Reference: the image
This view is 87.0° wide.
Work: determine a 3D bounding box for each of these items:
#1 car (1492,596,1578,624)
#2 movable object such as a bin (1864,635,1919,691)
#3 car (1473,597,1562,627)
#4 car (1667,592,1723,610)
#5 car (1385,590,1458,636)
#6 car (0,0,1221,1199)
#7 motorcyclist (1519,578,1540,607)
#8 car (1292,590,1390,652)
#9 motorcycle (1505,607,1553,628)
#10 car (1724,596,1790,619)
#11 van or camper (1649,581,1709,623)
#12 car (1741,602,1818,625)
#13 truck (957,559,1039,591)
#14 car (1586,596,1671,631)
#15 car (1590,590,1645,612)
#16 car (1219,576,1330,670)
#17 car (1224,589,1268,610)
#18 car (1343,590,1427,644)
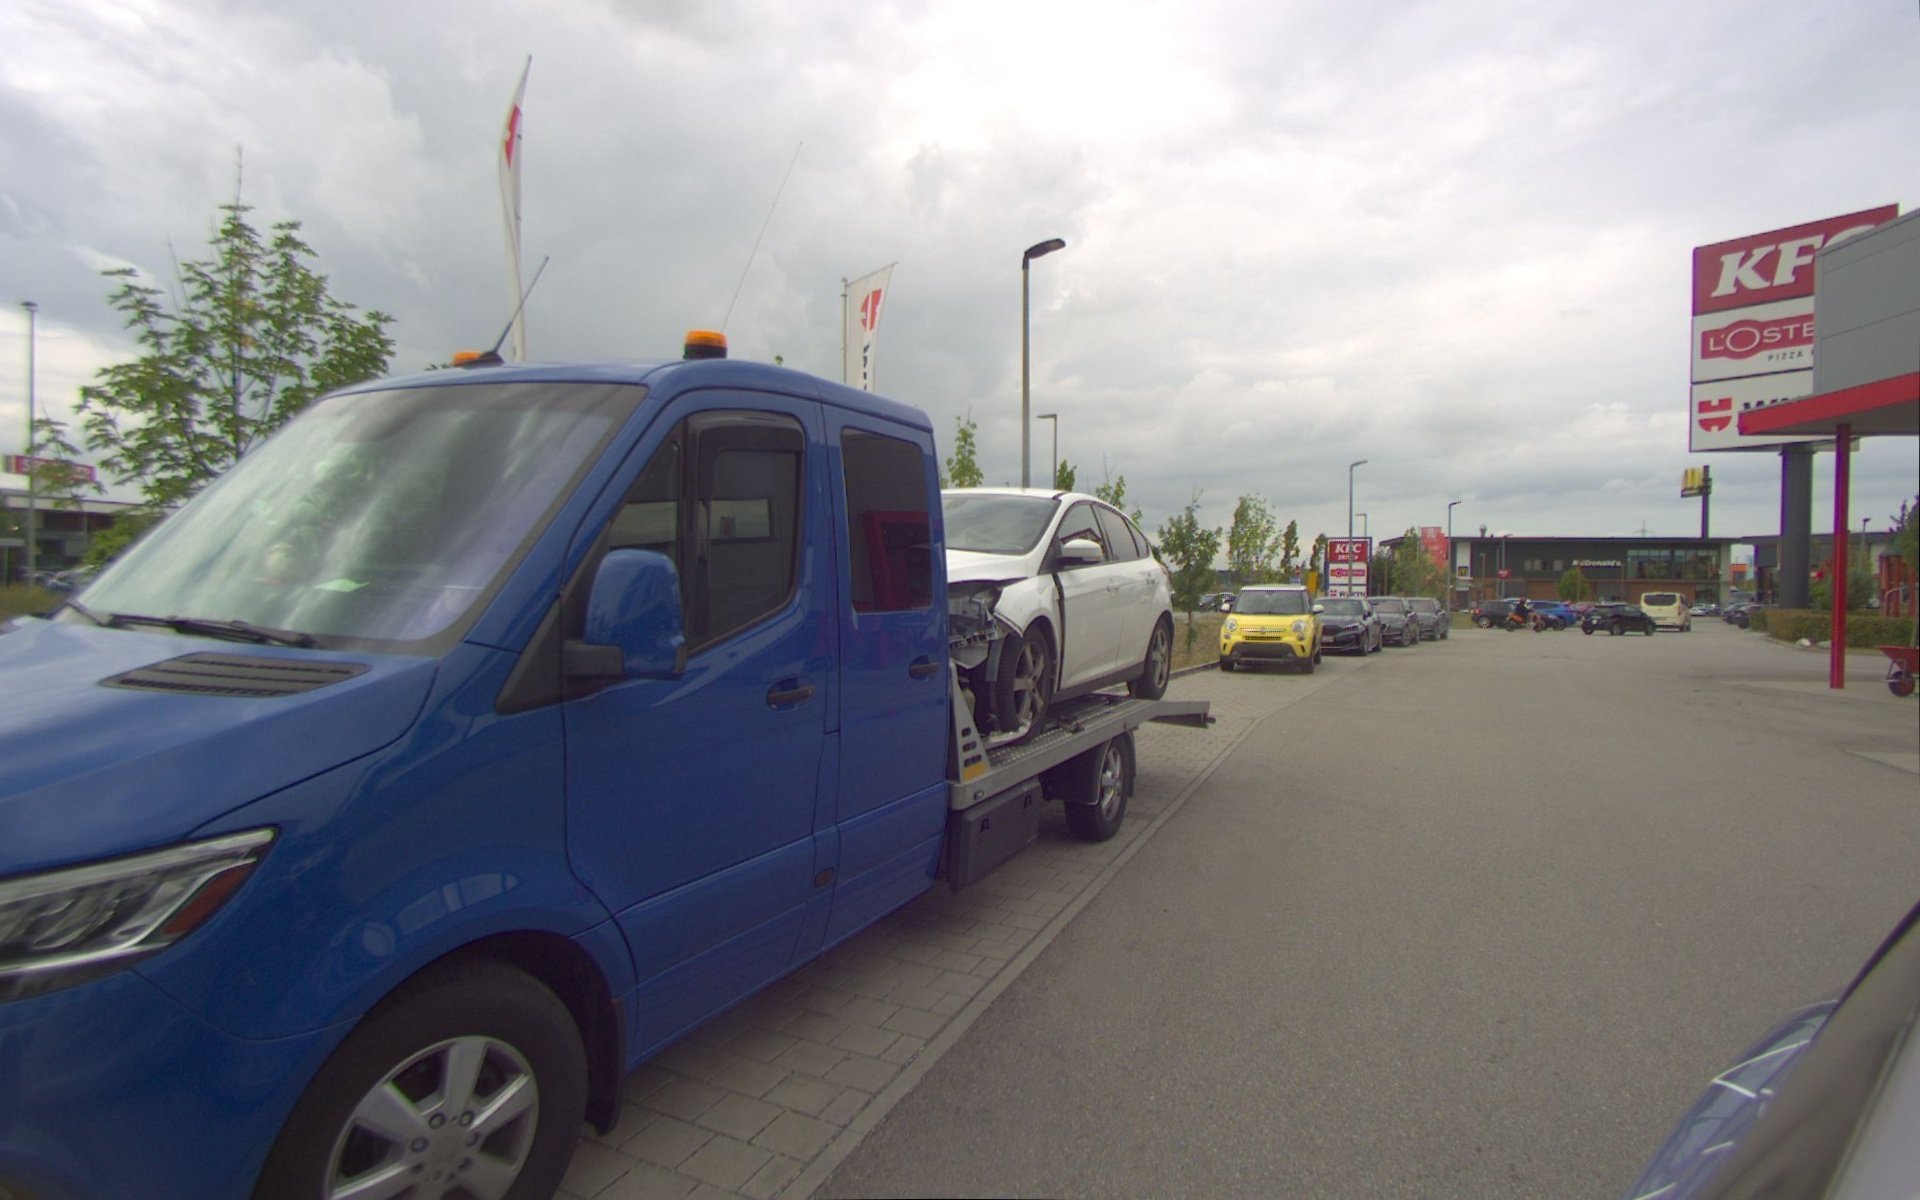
[{"bbox_3d":[31.291,0.531,55.103,3.973,1.438,1.788,1,0,35],"label":"car"},{"bbox_3d":[13.880,0.893,14.225,1.557,0.725,0.802,1,0,6],"label":"movable object such as a bin"},{"bbox_3d":[29.321,0.599,53.229,3.973,1.438,1.788,1,0,35],"label":"car"},{"bbox_3d":[71.271,0.095,98.186,1.959,1.683,4.007,0,0,-25],"label":"car"},{"bbox_3d":[16.316,0.422,35.656,1.740,1.509,4.435,0,0,33],"label":"car"},{"bbox_3d":[-0.654,0.157,5.146,2.180,2.352,7.782,1,0,27],"label":"car"},{"bbox_3d":[26.103,-0.357,46.398,0.662,1.332,0.574,1,0,8],"label":"motorcyclist"},{"bbox_3d":[9.743,0.470,25.704,1.738,1.433,4.261,0,0,29],"label":"car"},{"bbox_3d":[26.067,0.781,46.399,1.838,0.928,0.555,1,0,9],"label":"motorcycle"},{"bbox_3d":[66.833,0.620,84.933,3.952,1.861,1.986,0,0,21],"label":"car"},{"bbox_3d":[37.896,0.106,53.304,1.854,2.087,5.151,1,0,44],"label":"van or camper"},{"bbox_3d":[50.779,0.819,62.783,3.408,1.312,1.486,0,0,26],"label":"car"},{"bbox_3d":[3.730,-2.379,97.458,8.031,2.982,2.679,0,1,-37],"label":"truck"},{"bbox_3d":[29.959,0.593,45.374,3.059,1.465,1.510,1,1,-16],"label":"car"},{"bbox_3d":[63.368,0.074,97.640,1.959,2.039,4.007,0,0,-26],"label":"car"},{"bbox_3d":[6.462,0.392,20.518,1.733,1.704,4.264,0,0,23],"label":"car"},{"bbox_3d":[19.899,-0.066,70.374,1.749,1.371,3.949,1,1,35],"label":"car"},{"bbox_3d":[13.059,0.456,30.958,1.739,1.509,4.581,0,0,31],"label":"car"}]
